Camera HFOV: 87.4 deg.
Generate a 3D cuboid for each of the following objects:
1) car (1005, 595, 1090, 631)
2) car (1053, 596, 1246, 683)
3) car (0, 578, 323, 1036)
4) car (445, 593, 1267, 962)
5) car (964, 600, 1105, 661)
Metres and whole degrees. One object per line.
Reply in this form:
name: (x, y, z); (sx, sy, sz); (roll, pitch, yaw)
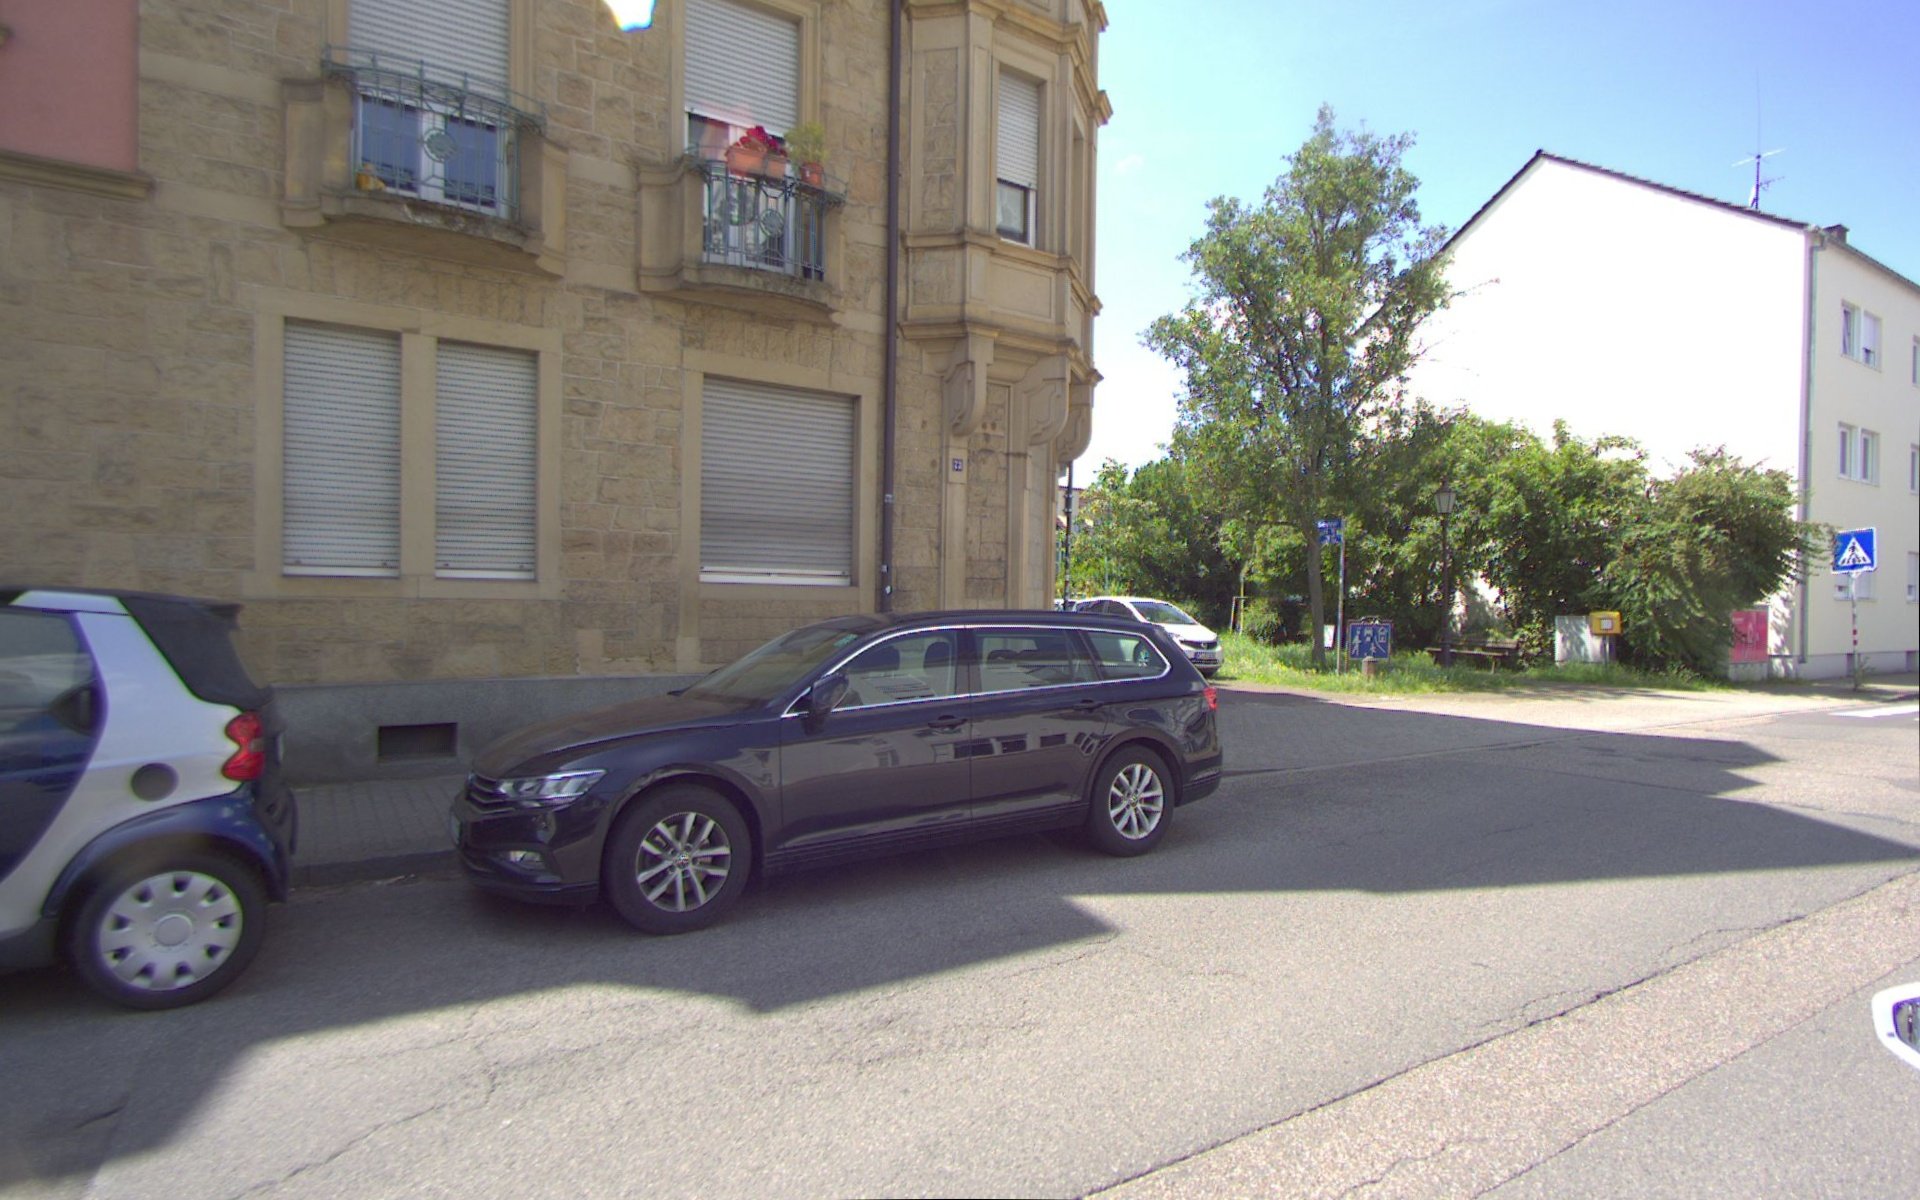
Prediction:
car: (3.823, 0.554, 43.464); (1.438, 1.439, 3.976); (4, 2, 43)
car: (3.792, 0.736, 20.752); (1.845, 1.522, 3.971); (1, 1, -28)
car: (-3.974, 0.690, 3.749); (2.667, 1.543, 1.428); (1, 0, -33)
car: (-0.436, 0.752, 6.000); (4.582, 1.477, 1.773); (1, 0, -32)
car: (1.819, 0.722, 25.655); (1.781, 1.417, 3.971); (1, 0, -28)
